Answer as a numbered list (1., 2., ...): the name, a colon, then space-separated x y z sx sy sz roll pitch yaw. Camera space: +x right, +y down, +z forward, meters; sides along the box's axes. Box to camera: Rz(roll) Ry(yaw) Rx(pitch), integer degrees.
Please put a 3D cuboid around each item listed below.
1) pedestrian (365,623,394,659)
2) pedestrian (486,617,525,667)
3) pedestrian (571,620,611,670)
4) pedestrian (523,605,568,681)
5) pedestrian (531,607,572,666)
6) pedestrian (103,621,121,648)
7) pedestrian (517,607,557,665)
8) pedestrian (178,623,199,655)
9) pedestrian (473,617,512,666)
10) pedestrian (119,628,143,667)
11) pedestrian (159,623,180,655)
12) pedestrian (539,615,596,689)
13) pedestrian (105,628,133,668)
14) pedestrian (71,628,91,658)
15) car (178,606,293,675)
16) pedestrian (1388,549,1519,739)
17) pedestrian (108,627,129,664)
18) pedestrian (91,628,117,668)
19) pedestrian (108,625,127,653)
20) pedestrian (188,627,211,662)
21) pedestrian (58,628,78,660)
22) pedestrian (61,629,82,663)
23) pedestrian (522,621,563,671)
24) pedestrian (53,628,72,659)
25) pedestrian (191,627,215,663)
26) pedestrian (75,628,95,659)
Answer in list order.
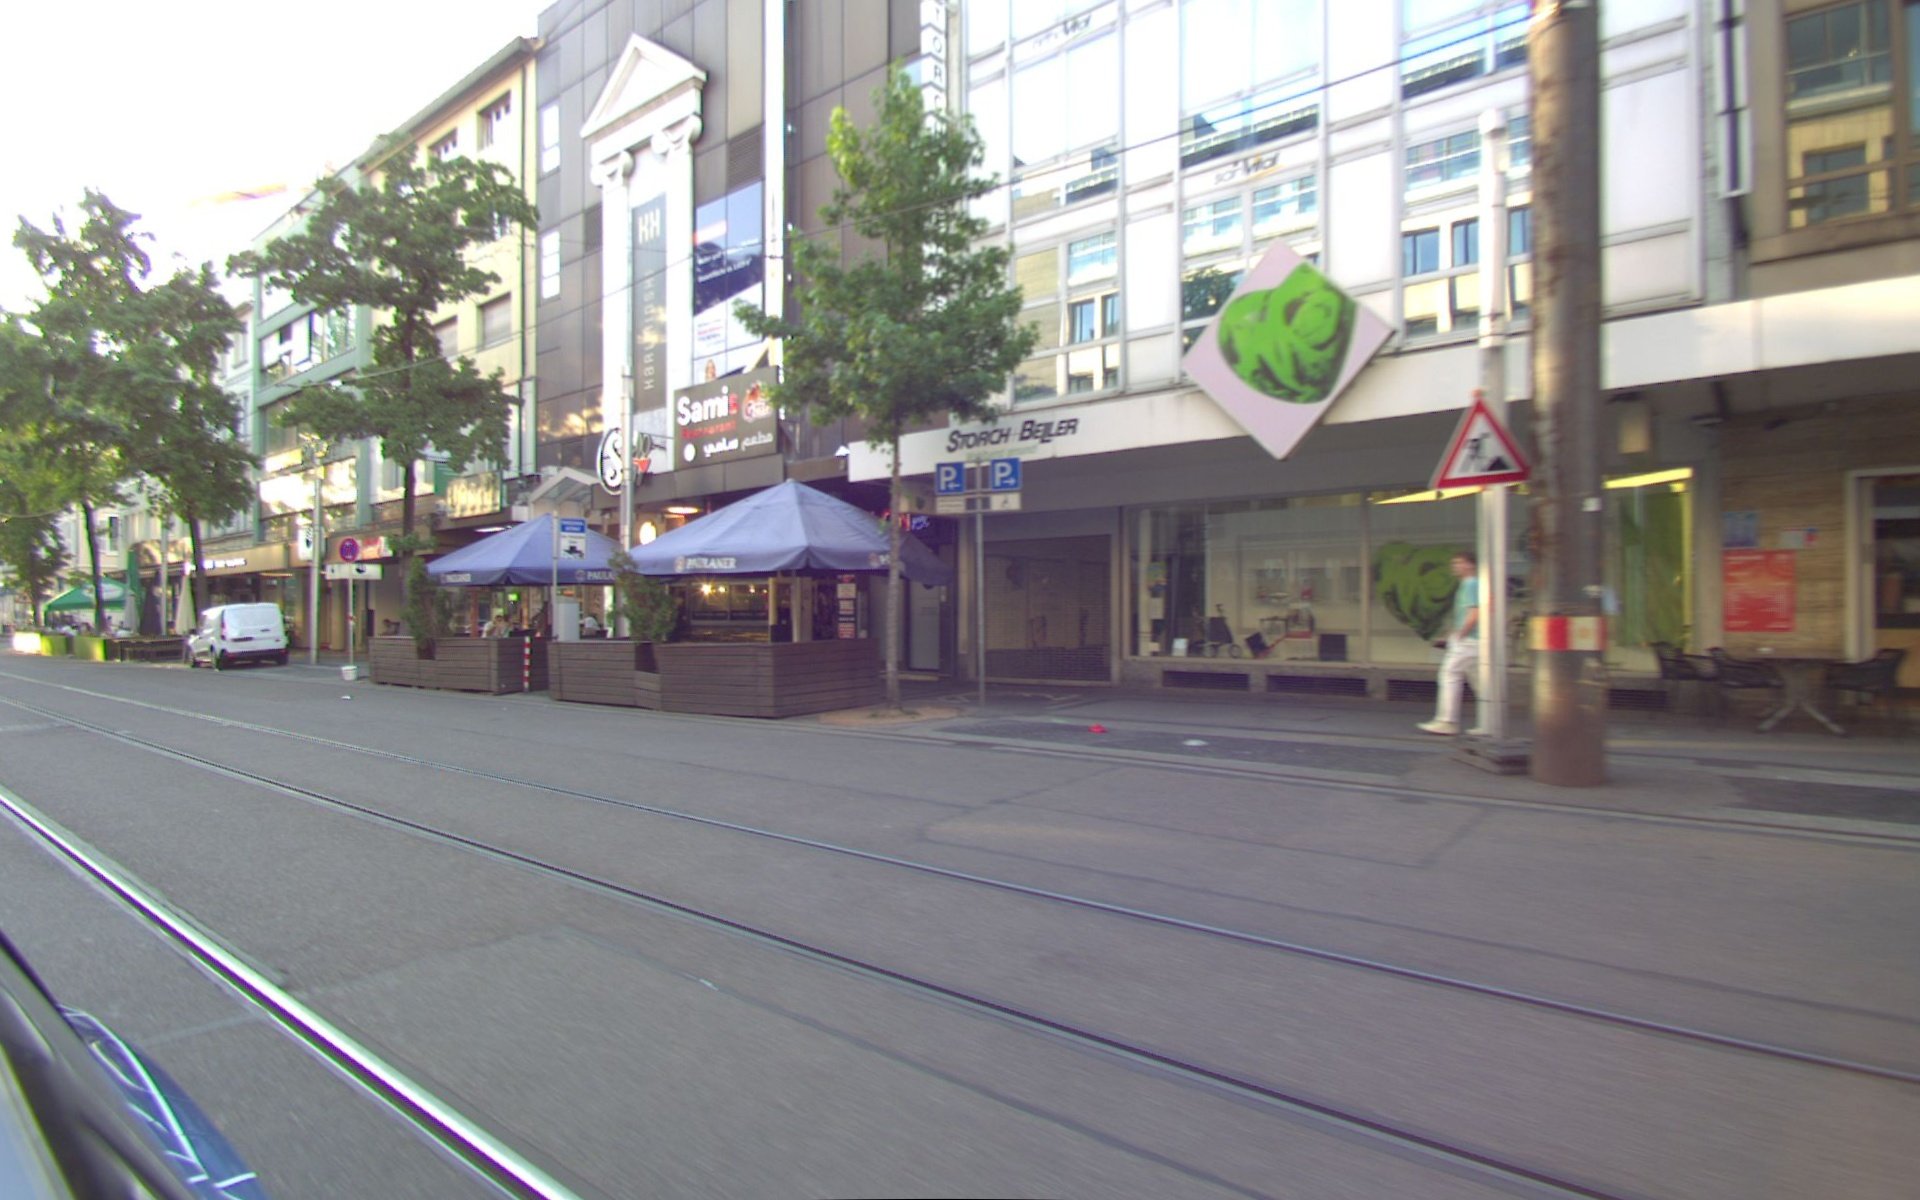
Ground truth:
1. pedestrian: -19.436 1.372 33.876 0.648 1.184 0.642 -1 0 35
2. pedestrian: -11.827 1.087 26.344 0.665 1.237 0.635 0 4 38
3. pedestrian: -9.079 1.098 24.909 0.665 1.165 0.635 0 2 38
4. pedestrian: -8.869 0.904 21.647 0.564 1.564 0.650 -1 2 38
5. pedestrian: -10.449 0.919 25.878 0.642 1.444 0.654 0 4 40
6. pedestrian: -46.534 1.883 55.509 0.649 1.471 0.642 -2 -2 38
7. pedestrian: -11.005 0.927 26.333 0.642 1.444 0.654 0 4 40
8. pedestrian: -35.818 1.808 46.973 0.649 1.471 0.642 -1 -1 37
9. pedestrian: -12.463 1.096 26.986 0.665 1.237 0.635 0 4 38
10. pedestrian: -32.052 1.816 39.130 0.639 1.471 0.652 0 -1 -33
11. pedestrian: -36.839 1.821 47.173 0.649 1.471 0.642 -1 -1 37
12. pedestrian: -7.913 1.026 20.408 0.746 1.411 0.756 0 2 39
13. pedestrian: -31.773 1.811 38.237 0.639 1.471 0.652 0 -1 -20
14. pedestrian: -40.650 1.977 46.801 0.640 1.396 0.651 1 -2 -43
15. car: -21.578 1.161 30.069 4.328 1.835 1.807 -2 1 42
16. pedestrian: 4.955 0.409 10.180 0.676 1.806 0.991 -3 1 -45
17. pedestrian: -34.322 1.849 41.277 0.639 1.471 0.651 0 -1 -37
18. pedestrian: -32.671 1.823 38.624 0.650 1.471 0.641 -2 -2 41
19. pedestrian: -44.998 2.101 54.050 0.649 1.471 0.642 -2 -2 38
20. pedestrian: -32.677 1.907 43.482 0.649 1.471 0.642 -2 -2 38
21. pedestrian: -40.156 1.968 45.542 0.640 1.396 0.651 1 -2 -43
22. pedestrian: -37.475 1.929 42.681 0.640 1.396 0.651 1 -2 -43
23. pedestrian: -10.279 1.113 24.916 0.665 1.165 0.635 0 2 38
24. pedestrian: -41.103 1.982 46.343 0.640 1.396 0.651 1 -2 -43
25. pedestrian: -32.005 1.897 42.795 0.648 1.471 0.643 -1 -1 31
26. pedestrian: -39.762 1.964 45.975 0.640 1.396 0.651 1 -2 -43
